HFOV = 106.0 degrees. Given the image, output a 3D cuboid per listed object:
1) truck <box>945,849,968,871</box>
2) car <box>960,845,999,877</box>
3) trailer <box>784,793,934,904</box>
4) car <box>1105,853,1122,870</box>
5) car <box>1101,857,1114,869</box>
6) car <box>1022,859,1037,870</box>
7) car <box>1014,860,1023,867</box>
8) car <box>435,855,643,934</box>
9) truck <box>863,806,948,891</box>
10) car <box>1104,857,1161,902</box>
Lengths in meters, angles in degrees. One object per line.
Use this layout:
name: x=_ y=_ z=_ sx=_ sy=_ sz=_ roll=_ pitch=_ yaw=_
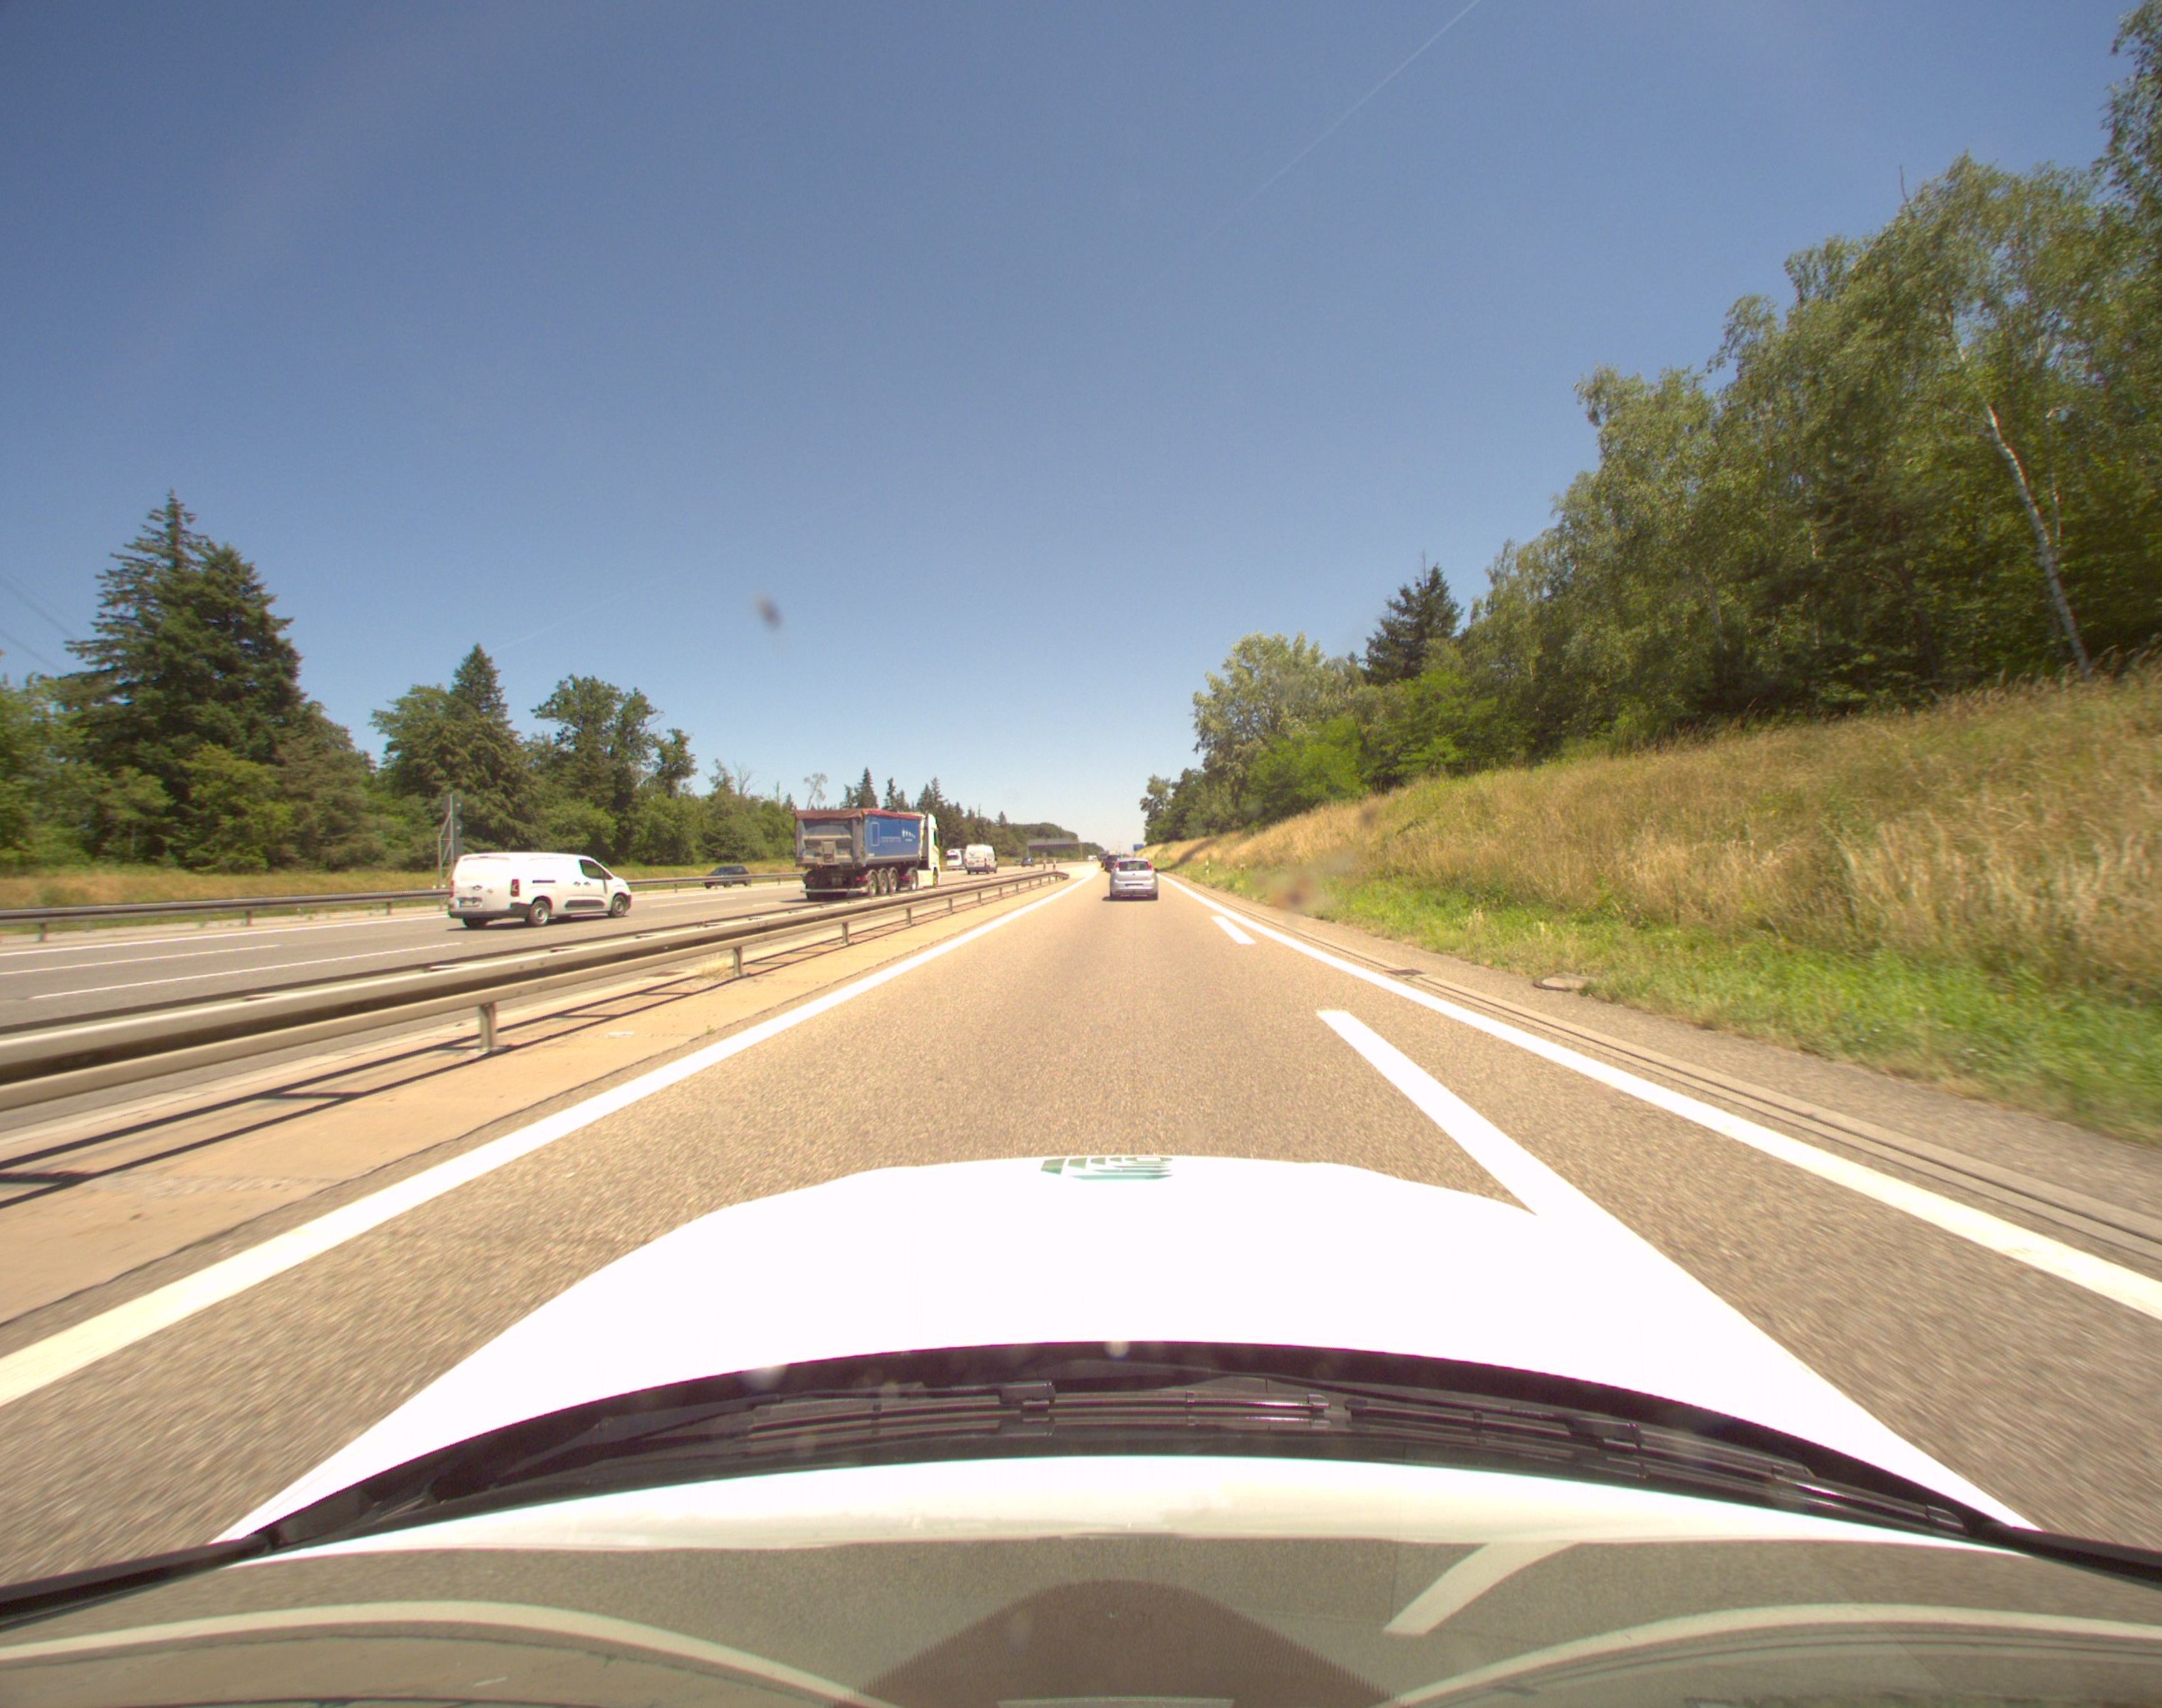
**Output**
truck: x=-24.640 y=1.252 z=161.586 sx=2.574 sy=4.127 sz=9.333 roll=-1 pitch=-2 yaw=4
car: x=-9.729 y=0.745 z=78.558 sx=2.622 sy=2.897 sz=6.476 roll=-1 pitch=-2 yaw=2
trailer: x=-8.684 y=-0.220 z=33.469 sx=2.759 sy=3.807 sz=9.895 roll=-1 pitch=0 yaw=4
car: x=3.396 y=0.835 z=85.091 sx=1.700 sy=1.676 sz=3.398 roll=-1 pitch=-2 yaw=1
car: x=3.622 y=1.260 z=112.780 sx=1.700 sy=1.508 sz=3.398 roll=-1 pitch=-2 yaw=1
car: x=-8.526 y=1.775 z=134.982 sx=1.986 sy=1.618 sz=4.001 roll=-1 pitch=-2 yaw=2
car: x=-16.222 y=2.377 z=212.174 sx=1.986 sy=1.674 sz=4.001 roll=-1 pitch=-2 yaw=2
car: x=-13.757 y=0.940 z=21.141 sx=1.764 sy=1.754 sz=5.025 roll=-2 pitch=0 yaw=4
truck: x=-8.310 y=-0.244 z=39.163 sx=2.745 sy=3.807 sz=4.626 roll=-1 pitch=0 yaw=3
car: x=1.766 y=0.861 z=28.982 sx=1.702 sy=1.482 sz=3.395 roll=-1 pitch=0 yaw=-2
